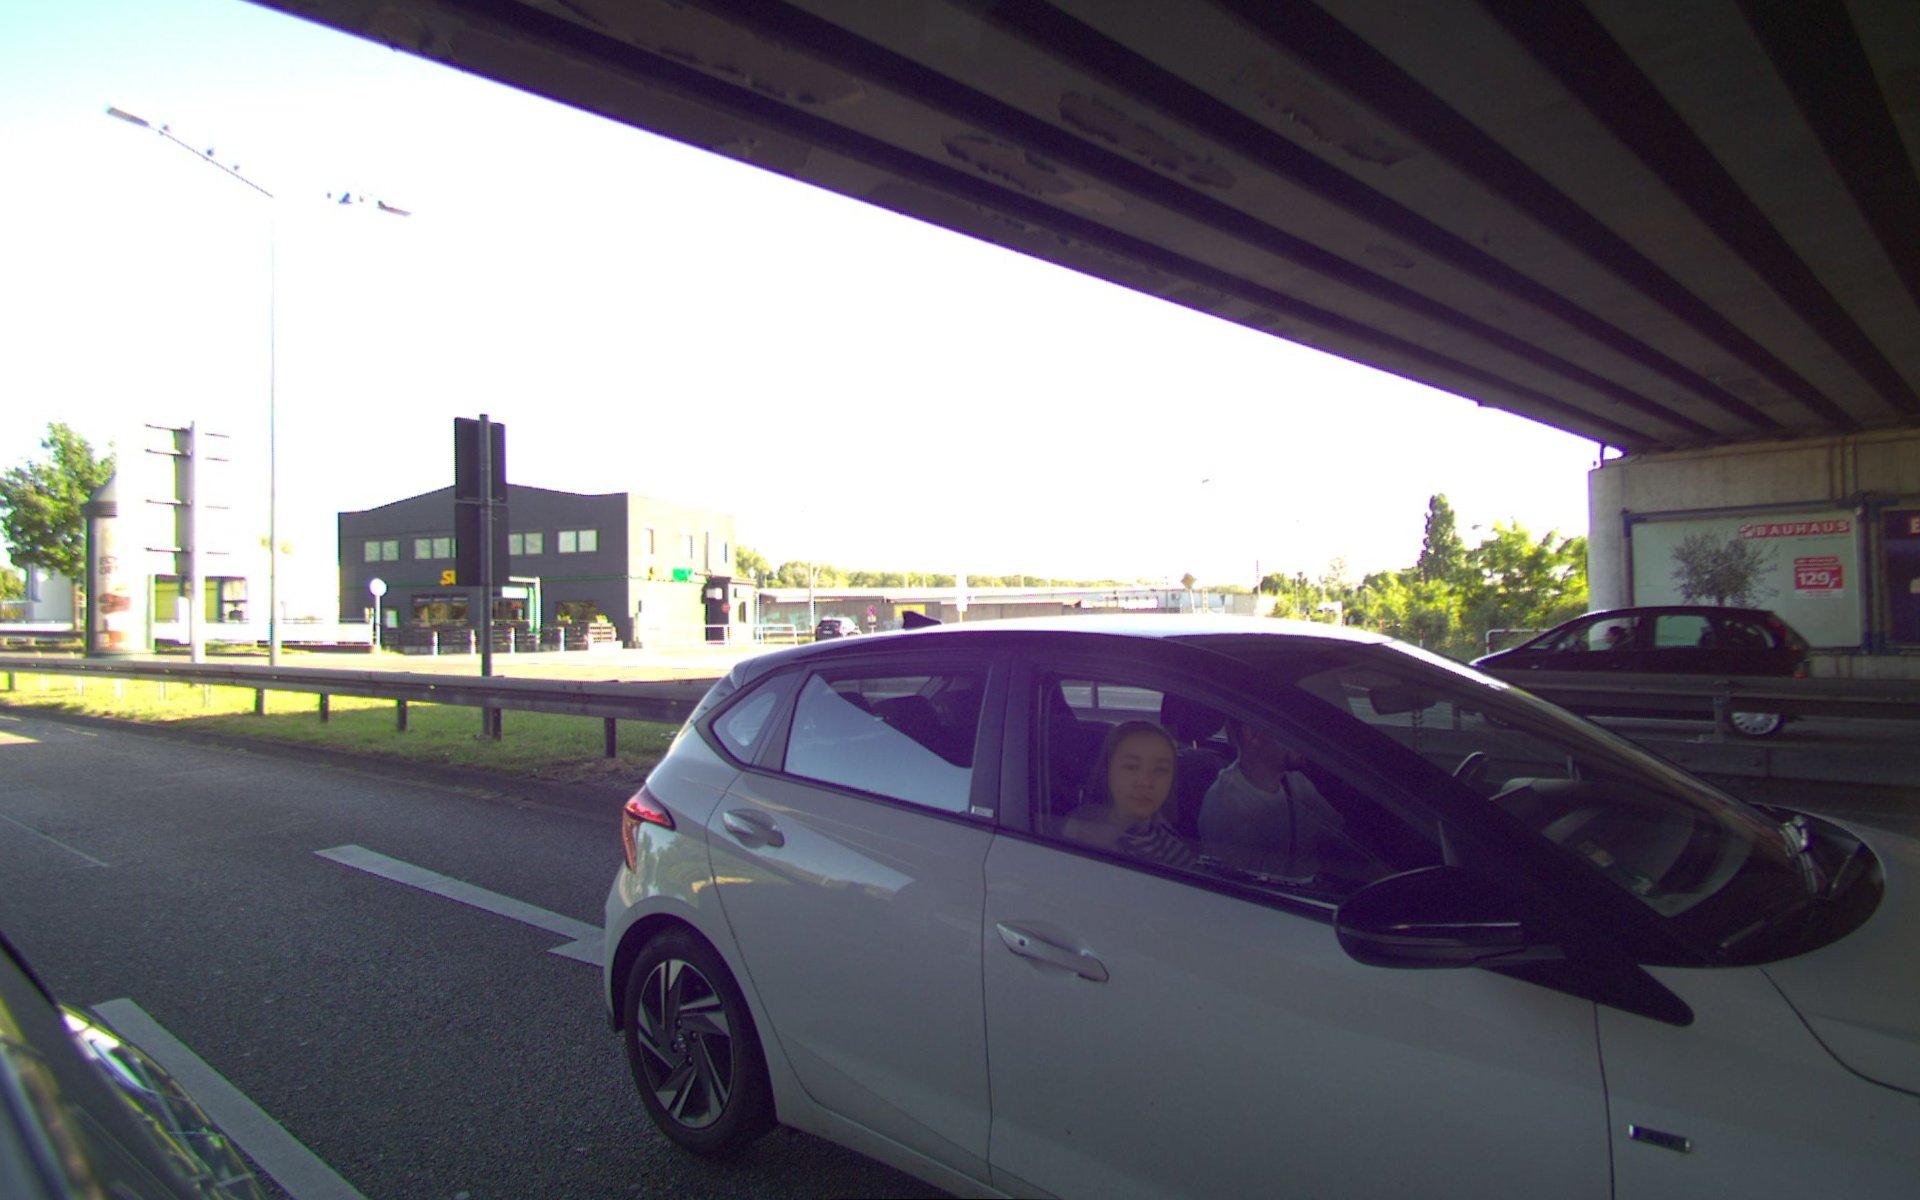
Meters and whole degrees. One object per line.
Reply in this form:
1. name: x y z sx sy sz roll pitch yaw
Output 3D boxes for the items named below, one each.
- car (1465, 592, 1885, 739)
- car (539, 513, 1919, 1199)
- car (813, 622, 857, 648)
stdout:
1. car: 9.064 0.795 13.128 4.179 1.600 1.806 -2 -2 40
2. car: 0.806 0.680 2.469 3.986 1.491 1.716 -2 -2 39
3. car: -6.741 1.923 54.976 1.806 1.291 4.180 1 -3 1
